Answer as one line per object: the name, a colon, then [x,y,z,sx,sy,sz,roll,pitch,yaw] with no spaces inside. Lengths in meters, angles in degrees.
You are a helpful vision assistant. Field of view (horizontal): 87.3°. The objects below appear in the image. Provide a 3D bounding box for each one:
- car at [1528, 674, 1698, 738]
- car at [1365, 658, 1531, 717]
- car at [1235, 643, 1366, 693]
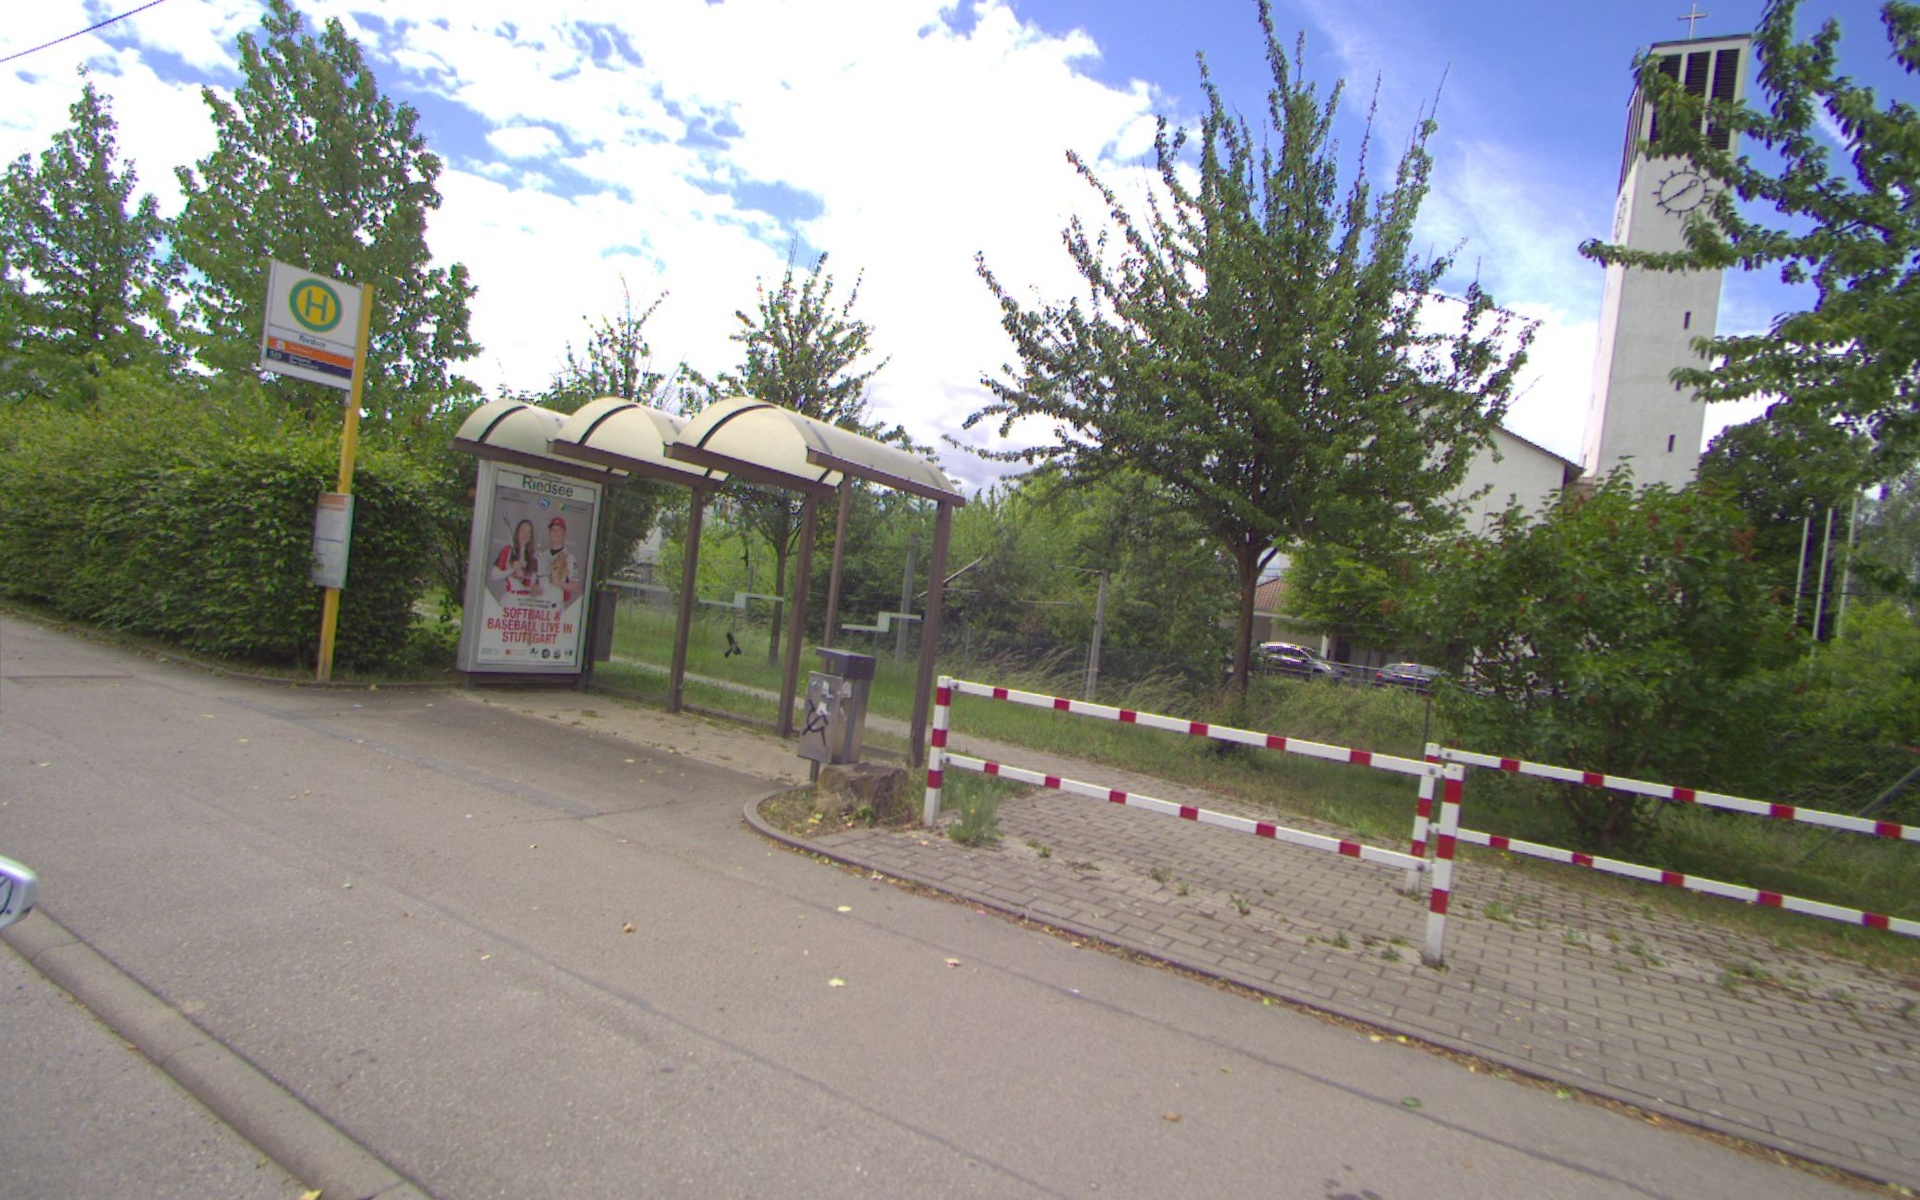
car: [20.223,3.260,31.244,1.986,1.349,3.953,6,0,-41]
car: [17.120,3.066,35.478,1.986,1.349,4.767,6,0,-41]
car: [13.399,2.657,39.808,1.984,1.349,4.428,6,0,-39]
